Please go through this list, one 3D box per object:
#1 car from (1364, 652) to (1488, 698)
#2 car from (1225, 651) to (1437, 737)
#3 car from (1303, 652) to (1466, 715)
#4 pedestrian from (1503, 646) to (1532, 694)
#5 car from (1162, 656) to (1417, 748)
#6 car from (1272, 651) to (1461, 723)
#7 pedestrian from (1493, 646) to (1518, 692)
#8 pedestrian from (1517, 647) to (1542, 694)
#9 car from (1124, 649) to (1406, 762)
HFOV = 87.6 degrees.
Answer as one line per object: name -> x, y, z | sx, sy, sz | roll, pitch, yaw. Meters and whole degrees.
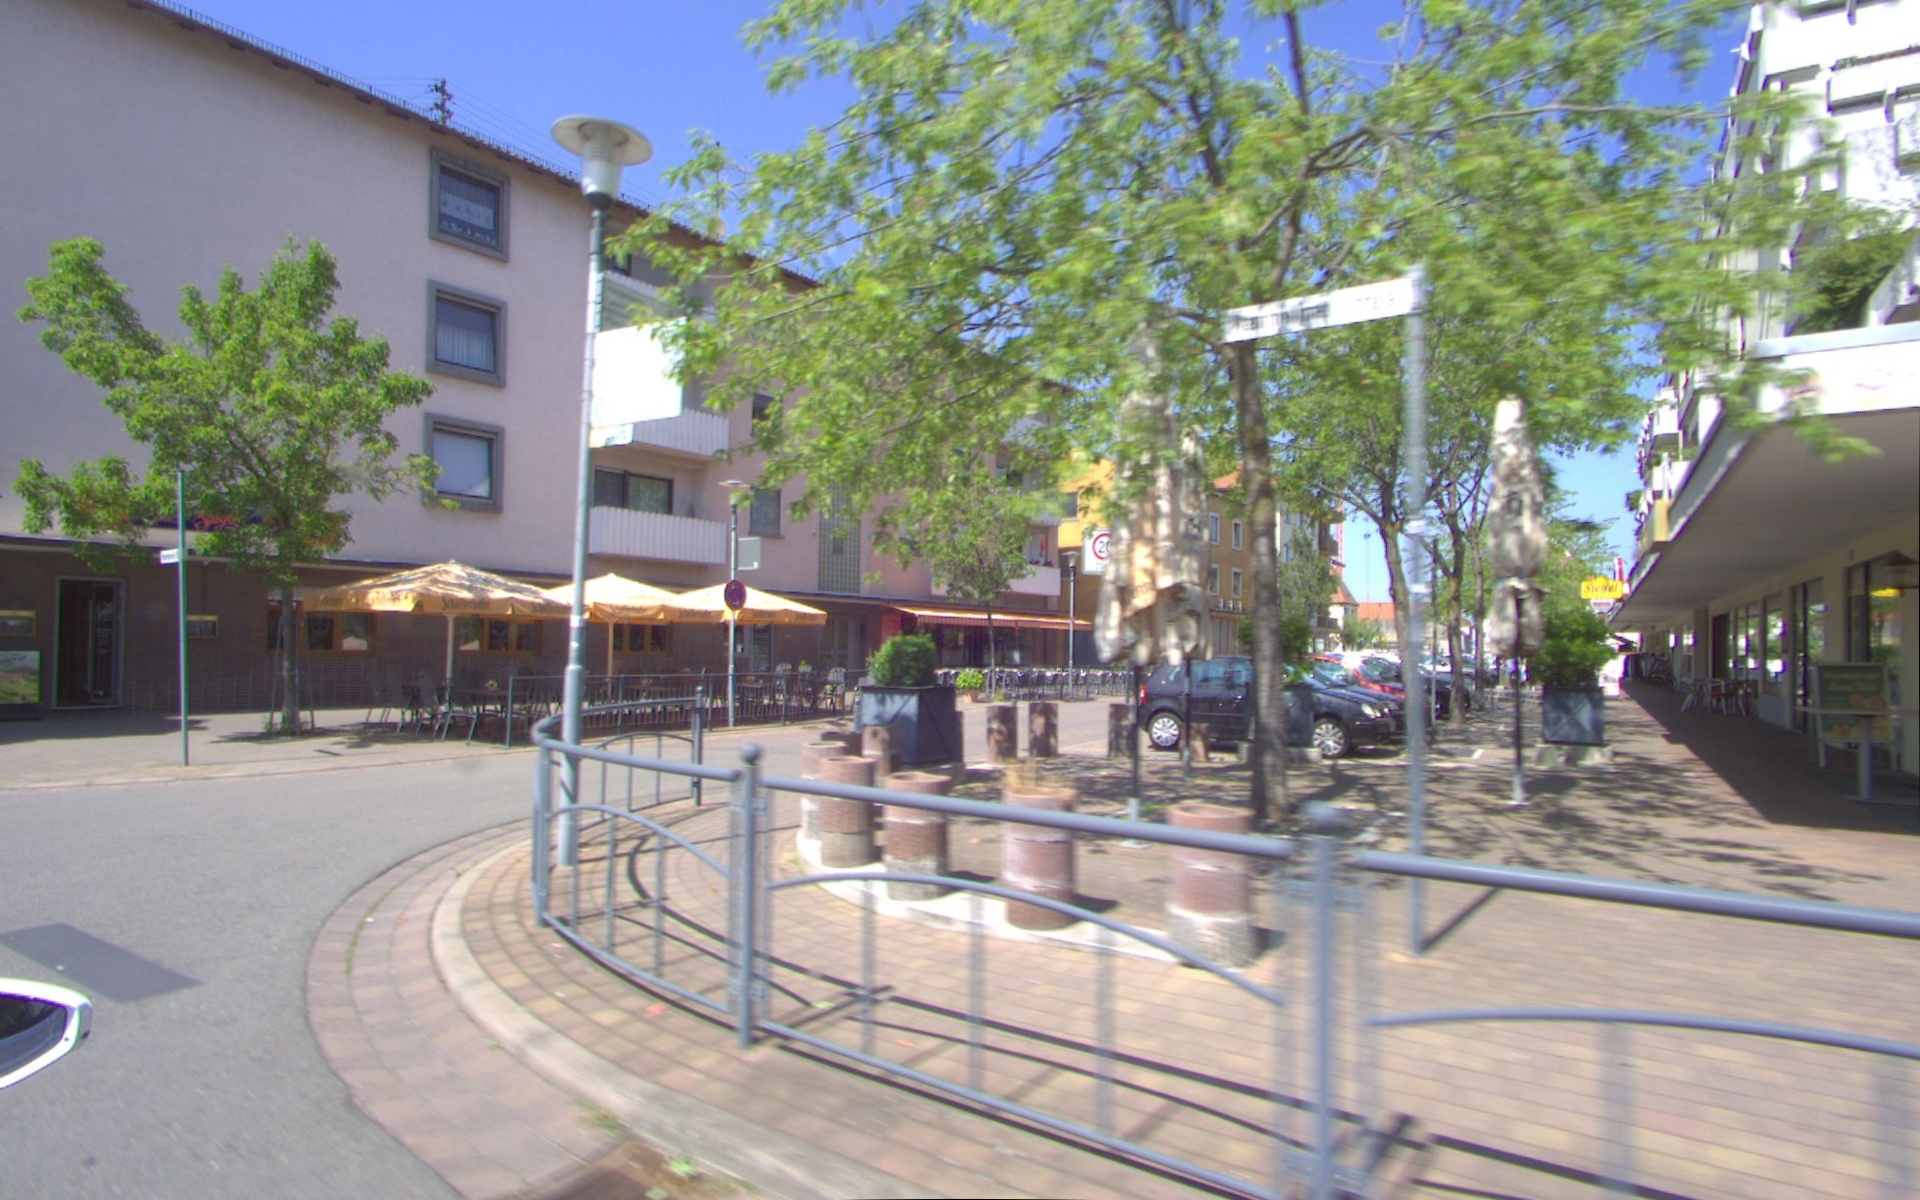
car -> 17.856, 2.839, 38.418 | 4.196, 1.636, 1.551 | -1, -2, 31
car -> 7.368, 1.811, 19.950 | 3.683, 1.553, 1.757 | -2, -3, 32
car -> 12.195, 2.340, 28.851 | 4.109, 1.594, 1.749 | -1, -2, 34
pedestrian -> 21.684, 2.715, 38.933 | 0.831, 1.810, 0.799 | 0, -1, 44
car -> 5.865, 1.748, 17.959 | 4.052, 1.449, 1.775 | -2, -3, 32
car -> 9.953, 2.072, 24.549 | 4.131, 1.560, 1.939 | -1, -3, 29
pedestrian -> 21.819, 2.755, 40.089 | 0.826, 1.810, 0.804 | 0, -1, 26
pedestrian -> 22.826, 2.812, 40.147 | 0.826, 1.810, 0.804 | 0, -1, 26
car -> 4.722, 1.555, 15.626 | 3.913, 1.528, 1.765 | -1, -3, 31
